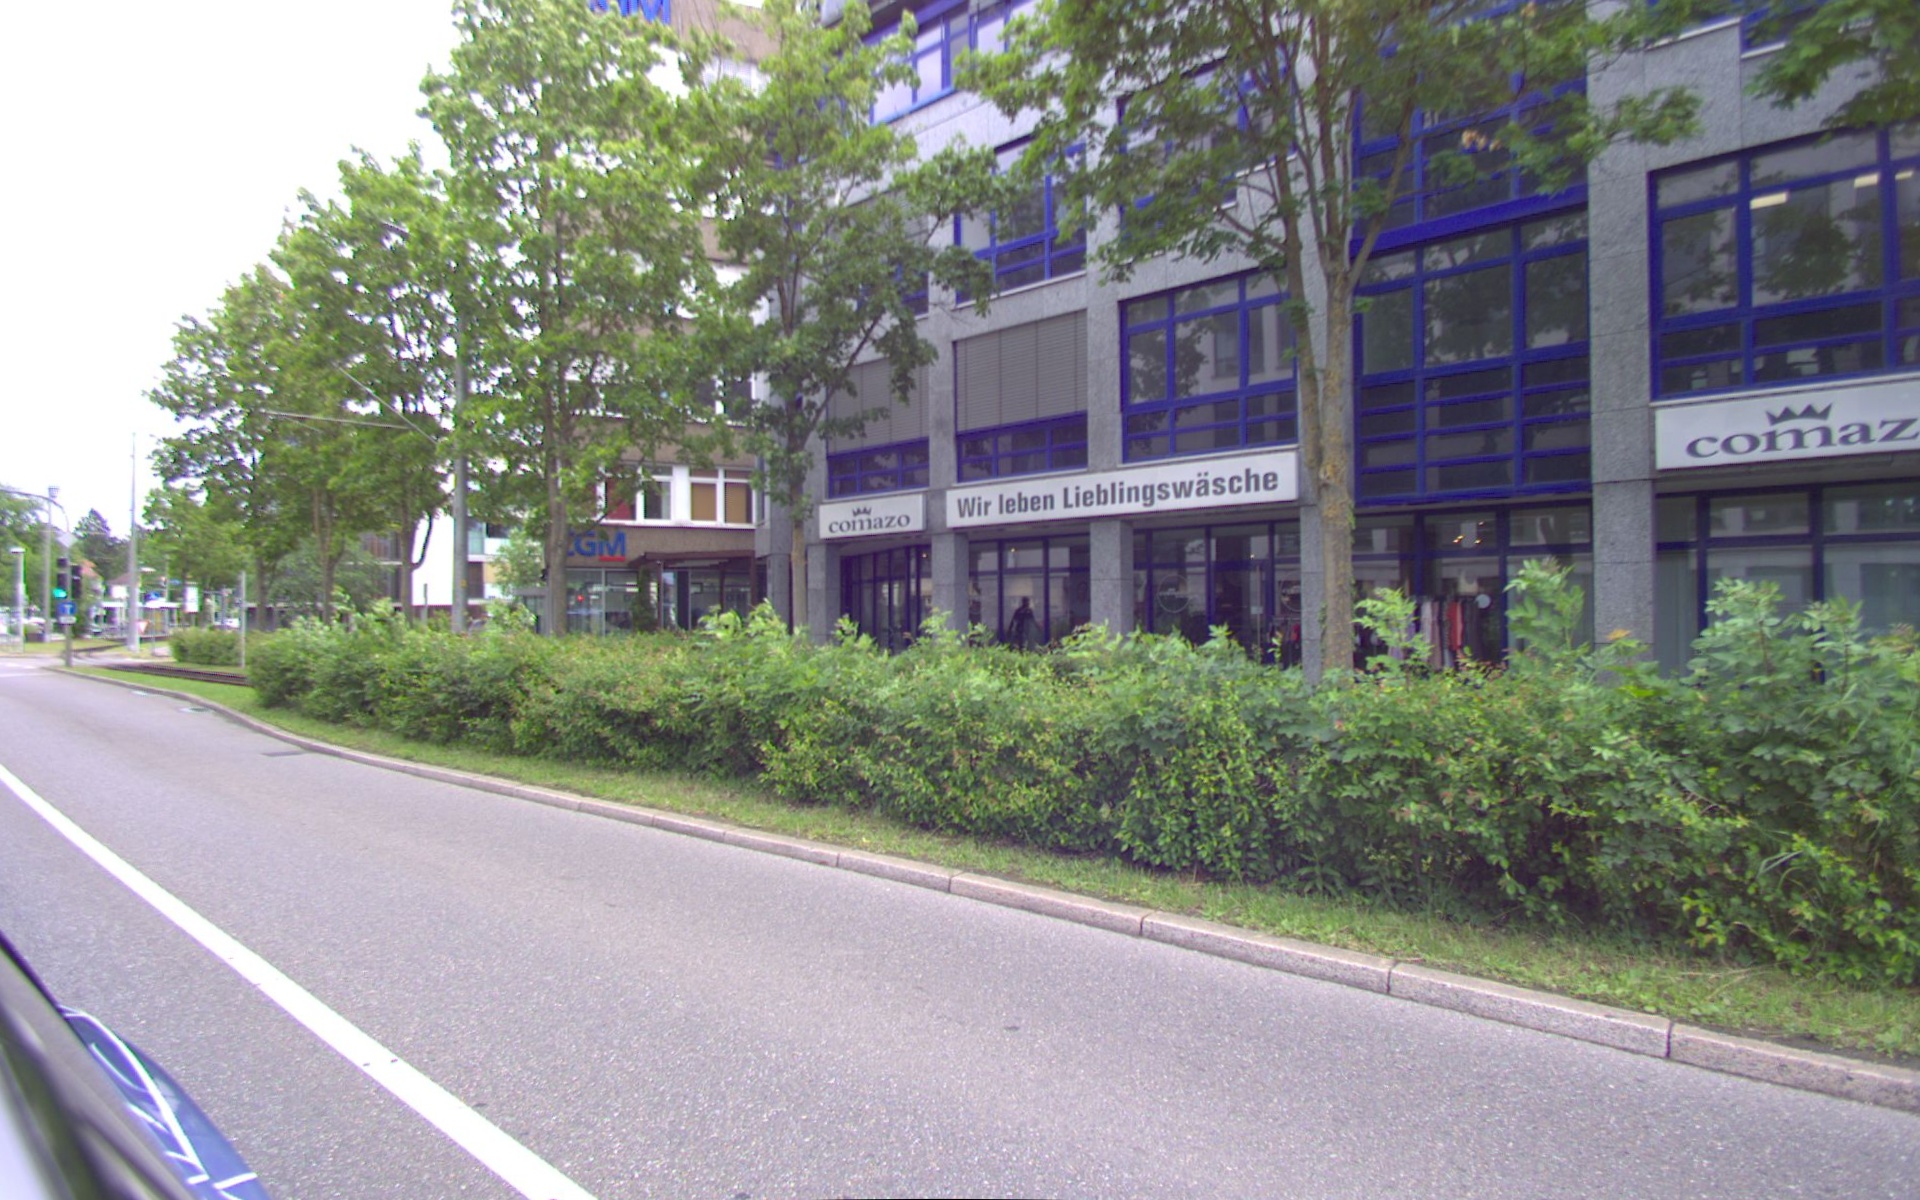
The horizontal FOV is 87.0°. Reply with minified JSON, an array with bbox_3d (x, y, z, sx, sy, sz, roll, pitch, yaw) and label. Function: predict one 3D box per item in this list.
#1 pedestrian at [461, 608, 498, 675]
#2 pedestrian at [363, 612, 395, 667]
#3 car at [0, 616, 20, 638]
[{"bbox_3d":[-13.397,1.137,28.228,0.730,1.819,0.672,-1,0,37],"label":"pedestrian"},{"bbox_3d":[-20.767,1.394,36.194,0.731,1.938,0.805,-1,0,40],"label":"pedestrian"},{"bbox_3d":[-89.813,2.498,94.422,1.965,2.029,4.013,0,0,-25],"label":"car"}]
